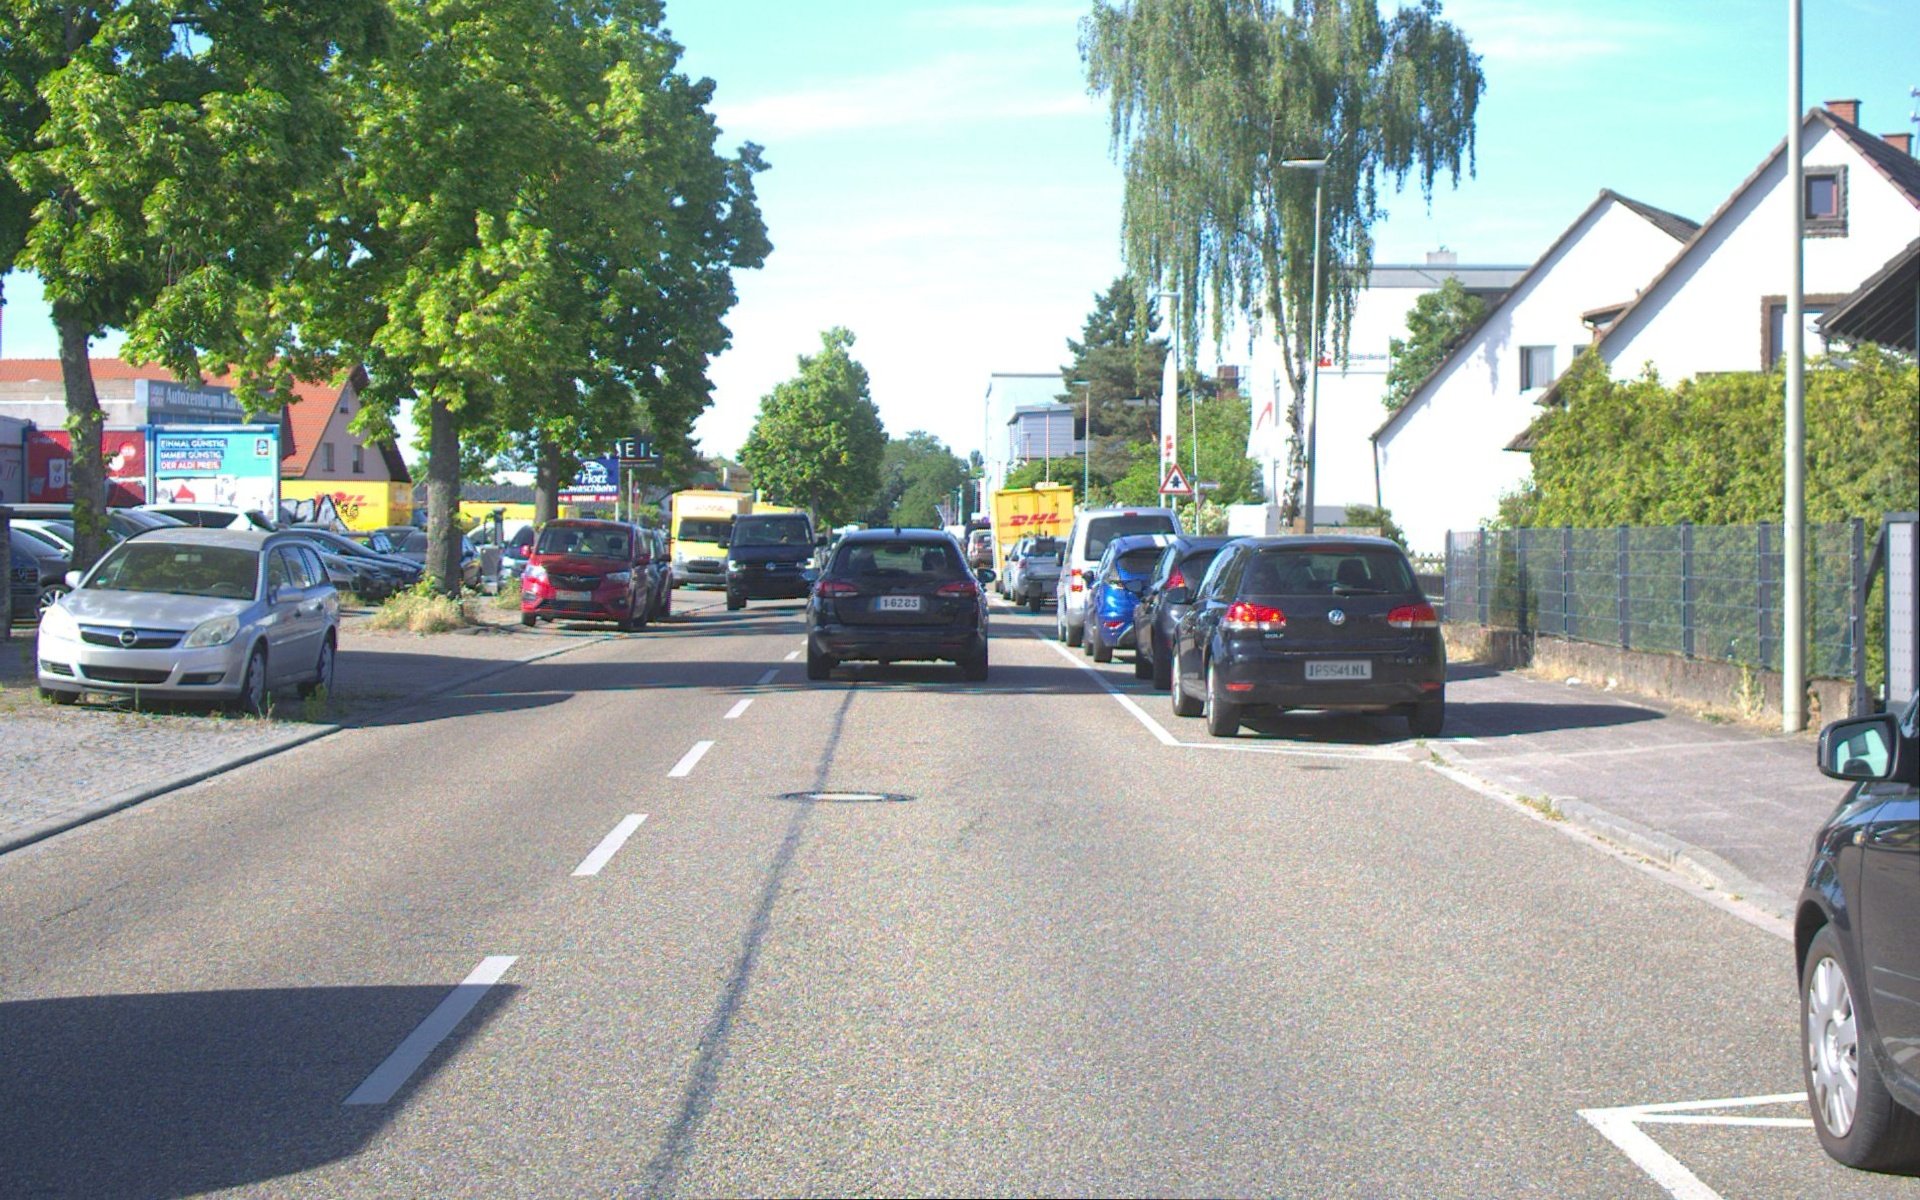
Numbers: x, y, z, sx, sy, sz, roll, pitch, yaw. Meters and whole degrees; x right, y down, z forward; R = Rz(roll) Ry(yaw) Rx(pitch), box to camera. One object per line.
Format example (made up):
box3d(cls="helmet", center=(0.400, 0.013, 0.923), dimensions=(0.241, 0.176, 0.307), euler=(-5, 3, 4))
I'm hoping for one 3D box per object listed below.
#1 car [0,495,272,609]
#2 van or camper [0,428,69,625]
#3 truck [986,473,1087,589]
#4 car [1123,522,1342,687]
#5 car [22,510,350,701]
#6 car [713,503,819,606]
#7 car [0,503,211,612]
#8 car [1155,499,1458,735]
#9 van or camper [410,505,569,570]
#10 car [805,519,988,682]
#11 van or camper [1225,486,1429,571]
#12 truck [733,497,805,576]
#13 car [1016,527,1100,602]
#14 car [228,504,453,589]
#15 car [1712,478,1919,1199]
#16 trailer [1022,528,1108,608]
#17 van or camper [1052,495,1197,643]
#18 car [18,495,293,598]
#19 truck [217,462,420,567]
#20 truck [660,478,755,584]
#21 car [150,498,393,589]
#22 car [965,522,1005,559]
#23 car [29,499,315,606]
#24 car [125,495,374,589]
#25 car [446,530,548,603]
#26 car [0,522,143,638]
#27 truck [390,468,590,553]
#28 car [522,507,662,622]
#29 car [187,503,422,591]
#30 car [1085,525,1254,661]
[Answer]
box3d(cls="car", center=(-13.067, -0.761, 53.727), dimensions=(4.249, 1.746, 1.766), euler=(0, 1, 3))
box3d(cls="van or camper", center=(-13.552, -0.915, 41.506), dimensions=(4.895, 2.312, 2.242), euler=(1, 0, 12))
box3d(cls="truck", center=(2.011, -1.828, 92.491), dimensions=(2.402, 2.926, 7.017), euler=(-2, 1, -1))
box3d(cls="car", center=(2.611, 0.009, 33.727), dimensions=(1.718, 1.499, 3.907), euler=(1, 1, -2))
box3d(cls="car", center=(-6.483, -0.006, 29.225), dimensions=(1.687, 1.430, 4.209), euler=(3, 1, 1))
box3d(cls="car", center=(-3.985, -0.960, 71.162), dimensions=(1.894, 2.024, 4.818), euler=(-1, 1, 0))
box3d(cls="car", center=(-13.221, -0.631, 49.926), dimensions=(4.249, 1.536, 1.766), euler=(0, 2, 4))
box3d(cls="car", center=(2.574, 0.077, 26.388), dimensions=(1.775, 1.653, 3.817), euler=(1, 1, -2))
box3d(cls="van or camper", center=(-14.744, -1.954, 107.853), dimensions=(4.544, 2.007, 2.250), euler=(0, 1, 6))
box3d(cls="car", center=(-0.582, -0.038, 34.208), dimensions=(1.711, 1.527, 3.687), euler=(0, 1, 1))
box3d(cls="van or camper", center=(11.157, -2.164, 104.446), dimensions=(5.812, 2.532, 2.290), euler=(0, 1, -26))
box3d(cls="truck", center=(-7.495, -2.498, 135.711), dimensions=(2.402, 2.973, 6.374), euler=(2, 1, 0))
box3d(cls="car", center=(2.133, -0.789, 73.946), dimensions=(1.674, 1.537, 4.043), euler=(1, 1, 3))
box3d(cls="car", center=(-12.741, -1.107, 70.801), dimensions=(4.249, 1.723, 1.765), euler=(0, 1, 6))
box3d(cls="car", center=(2.943, 0.580, 7.281), dimensions=(1.776, 1.653, 4.303), euler=(1, 1, 1))
box3d(cls="trailer", center=(2.066, -0.654, 68.391), dimensions=(1.627, 1.533, 3.198), euler=(0, 1, 1))
box3d(cls="van or camper", center=(2.173, -0.437, 46.465), dimensions=(1.719, 1.884, 4.180), euler=(1, 1, 0))
box3d(cls="car", center=(-13.784, -0.922, 59.006), dimensions=(4.249, 1.723, 1.765), euler=(0, 1, 6))
box3d(cls="truck", center=(-20.242, -2.695, 108.596), dimensions=(5.671, 3.109, 2.522), euler=(2, 1, 11))
box3d(cls="truck", center=(-7.465, -2.052, 102.445), dimensions=(2.402, 2.973, 7.246), euler=(2, 1, -2))
box3d(cls="car", center=(-13.220, -1.090, 66.131), dimensions=(4.249, 1.723, 1.765), euler=(0, 1, 6))
box3d(cls="car", center=(1.236, -2.991, 172.781), dimensions=(1.919, 1.819, 4.080), euler=(0, 1, 0))
box3d(cls="car", center=(-12.952, -0.788, 56.616), dimensions=(4.249, 1.723, 1.765), euler=(0, 1, 6))
box3d(cls="car", center=(-13.179, -1.077, 63.901), dimensions=(4.249, 1.723, 1.766), euler=(0, 1, 2))
box3d(cls="car", center=(-10.730, -0.750, 79.938), dimensions=(1.861, 1.584, 4.276), euler=(0, -1, -1))
box3d(cls="car", center=(-13.641, -0.310, 47.441), dimensions=(4.250, 1.536, 1.765), euler=(1, 1, 6))
box3d(cls="truck", center=(-15.126, -2.884, 110.773), dimensions=(5.924, 2.559, 2.223), euler=(2, 1, 11))
box3d(cls="car", center=(-6.027, -0.602, 56.681), dimensions=(1.803, 1.746, 4.342), euler=(2, 1, 0))
box3d(cls="car", center=(-12.998, -1.062, 68.275), dimensions=(4.249, 1.723, 1.765), euler=(0, 1, 6))
box3d(cls="car", center=(2.409, -0.110, 40.266), dimensions=(1.719, 1.499, 3.564), euler=(1, 1, 0))
